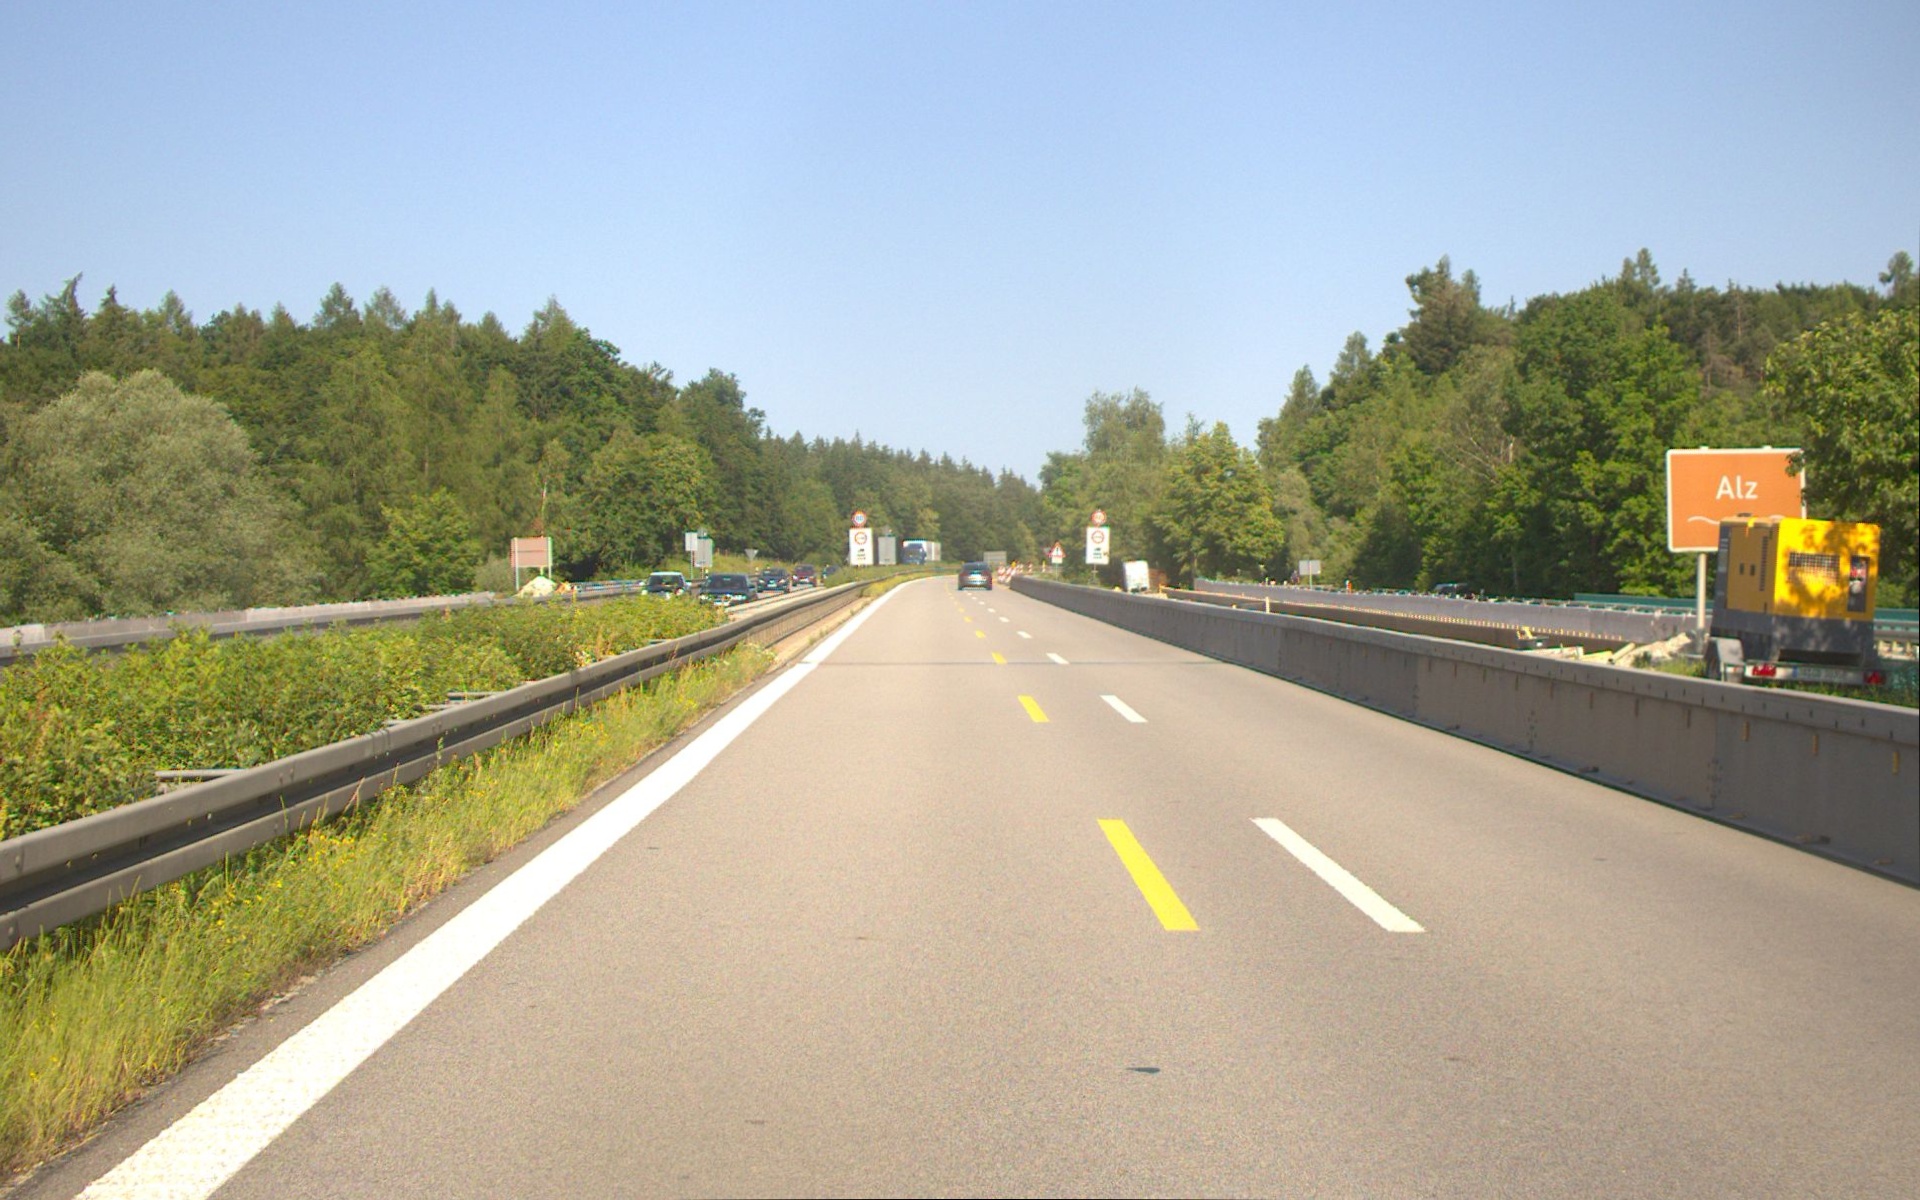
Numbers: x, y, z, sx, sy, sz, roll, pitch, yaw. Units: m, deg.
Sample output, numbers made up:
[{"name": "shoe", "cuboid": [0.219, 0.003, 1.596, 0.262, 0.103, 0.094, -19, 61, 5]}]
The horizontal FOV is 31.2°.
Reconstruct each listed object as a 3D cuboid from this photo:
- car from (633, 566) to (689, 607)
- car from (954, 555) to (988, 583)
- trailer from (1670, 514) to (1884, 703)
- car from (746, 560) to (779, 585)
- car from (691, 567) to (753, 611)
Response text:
[{"name": "car", "cuboid": [-10.775, -0.495, 124.178, 1.682, 1.388, 4.193, -1, 1, -1]}, {"name": "car", "cuboid": [0.581, -1.679, 186.354, 1.744, 1.461, 4.294, -1, 1, 0]}, {"name": "trailer", "cuboid": [8.567, 0.053, 36.311, 1.125, 1.867, 4.001, -1, 1, -2]}, {"name": "car", "cuboid": [-11.885, -1.642, 206.913, 1.744, 1.461, 4.910, -1, 1, -1]}, {"name": "car", "cuboid": [-7.889, -0.381, 114.188, 1.646, 1.372, 4.808, -1, 1, 1]}]
